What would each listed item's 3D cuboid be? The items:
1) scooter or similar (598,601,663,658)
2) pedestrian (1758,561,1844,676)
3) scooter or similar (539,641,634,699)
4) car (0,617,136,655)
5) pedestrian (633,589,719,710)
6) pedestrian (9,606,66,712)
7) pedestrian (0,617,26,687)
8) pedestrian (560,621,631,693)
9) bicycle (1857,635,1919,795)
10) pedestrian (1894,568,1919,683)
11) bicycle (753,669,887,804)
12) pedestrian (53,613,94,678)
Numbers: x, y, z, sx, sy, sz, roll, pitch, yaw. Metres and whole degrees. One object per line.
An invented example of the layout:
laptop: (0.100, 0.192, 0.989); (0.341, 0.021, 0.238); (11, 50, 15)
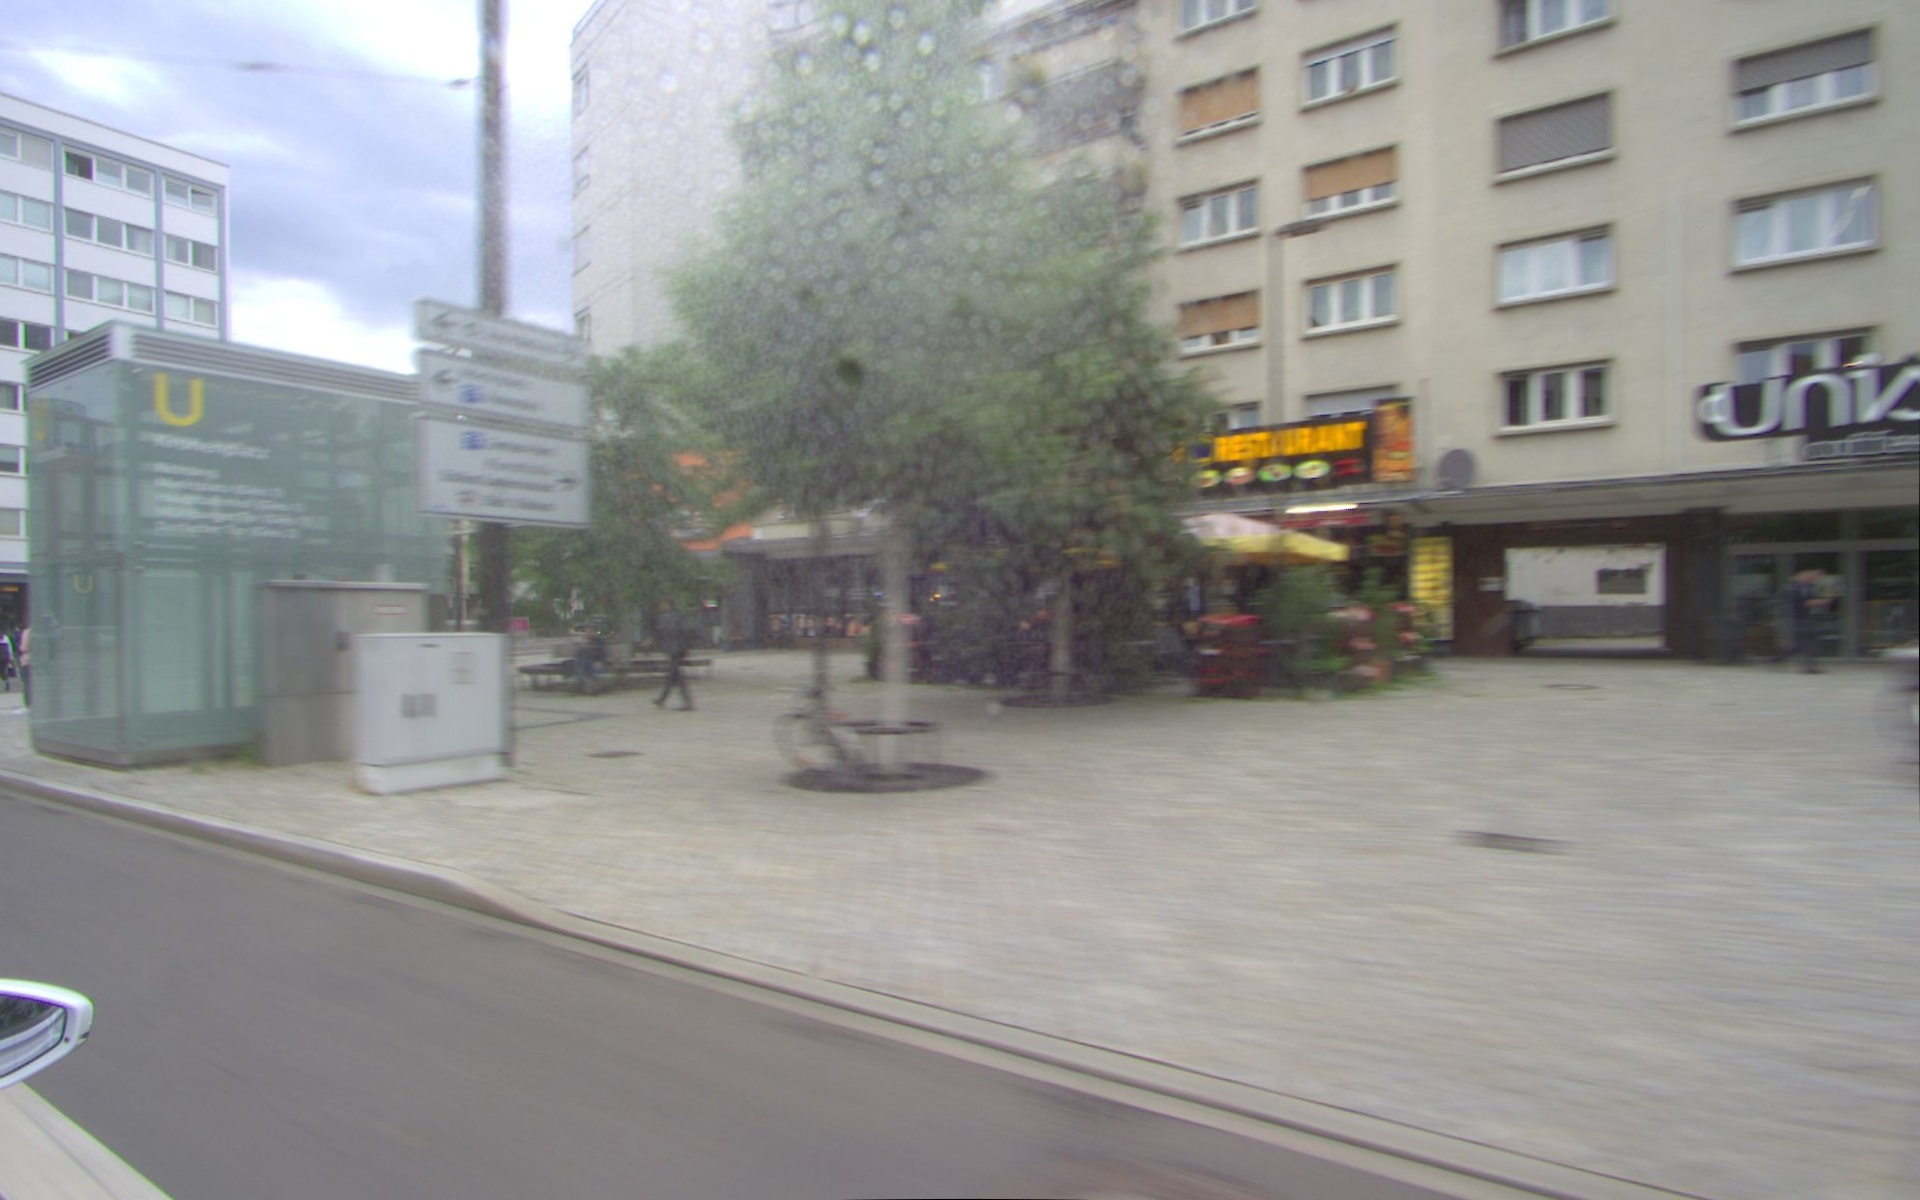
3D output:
scooter or similar: (-10.921, 0.959, 33.168); (2.248, 1.830, 1.078); (0, 0, 42)
pedestrian: (14.353, 0.326, 17.095); (0.762, 1.909, 0.851); (1, -1, -18)
scooter or similar: (-6.818, 1.265, 18.355); (1.564, 0.961, 0.723); (-1, 1, -19)
car: (-38.747, 1.502, 43.254); (1.723, 1.501, 4.545); (-1, -1, 31)
pedestrian: (-4.499, 0.768, 15.866); (1.063, 1.827, 0.711); (-1, 2, 32)
pedestrian: (-15.953, 1.009, 17.320); (0.592, 1.784, 0.522); (0, -1, 26)
pedestrian: (-24.692, 1.327, 25.836); (0.767, 1.784, 0.621); (0, -1, 26)
pedestrian: (-7.020, 1.079, 19.298); (0.724, 1.314, 1.040); (0, 1, 38)
bicycle: (7.850, 0.885, 8.238); (2.019, 1.125, 0.473); (-1, 1, -42)
pedestrian: (15.212, 0.386, 15.580); (0.762, 1.775, 0.716); (-2, 2, -18)
bicycle: (-1.303, 1.165, 9.019); (0.650, 0.991, 1.746); (0, -1, -28)
pedestrian: (-26.594, 1.358, 30.038); (1.140, 1.887, 0.798); (-1, 1, 44)
